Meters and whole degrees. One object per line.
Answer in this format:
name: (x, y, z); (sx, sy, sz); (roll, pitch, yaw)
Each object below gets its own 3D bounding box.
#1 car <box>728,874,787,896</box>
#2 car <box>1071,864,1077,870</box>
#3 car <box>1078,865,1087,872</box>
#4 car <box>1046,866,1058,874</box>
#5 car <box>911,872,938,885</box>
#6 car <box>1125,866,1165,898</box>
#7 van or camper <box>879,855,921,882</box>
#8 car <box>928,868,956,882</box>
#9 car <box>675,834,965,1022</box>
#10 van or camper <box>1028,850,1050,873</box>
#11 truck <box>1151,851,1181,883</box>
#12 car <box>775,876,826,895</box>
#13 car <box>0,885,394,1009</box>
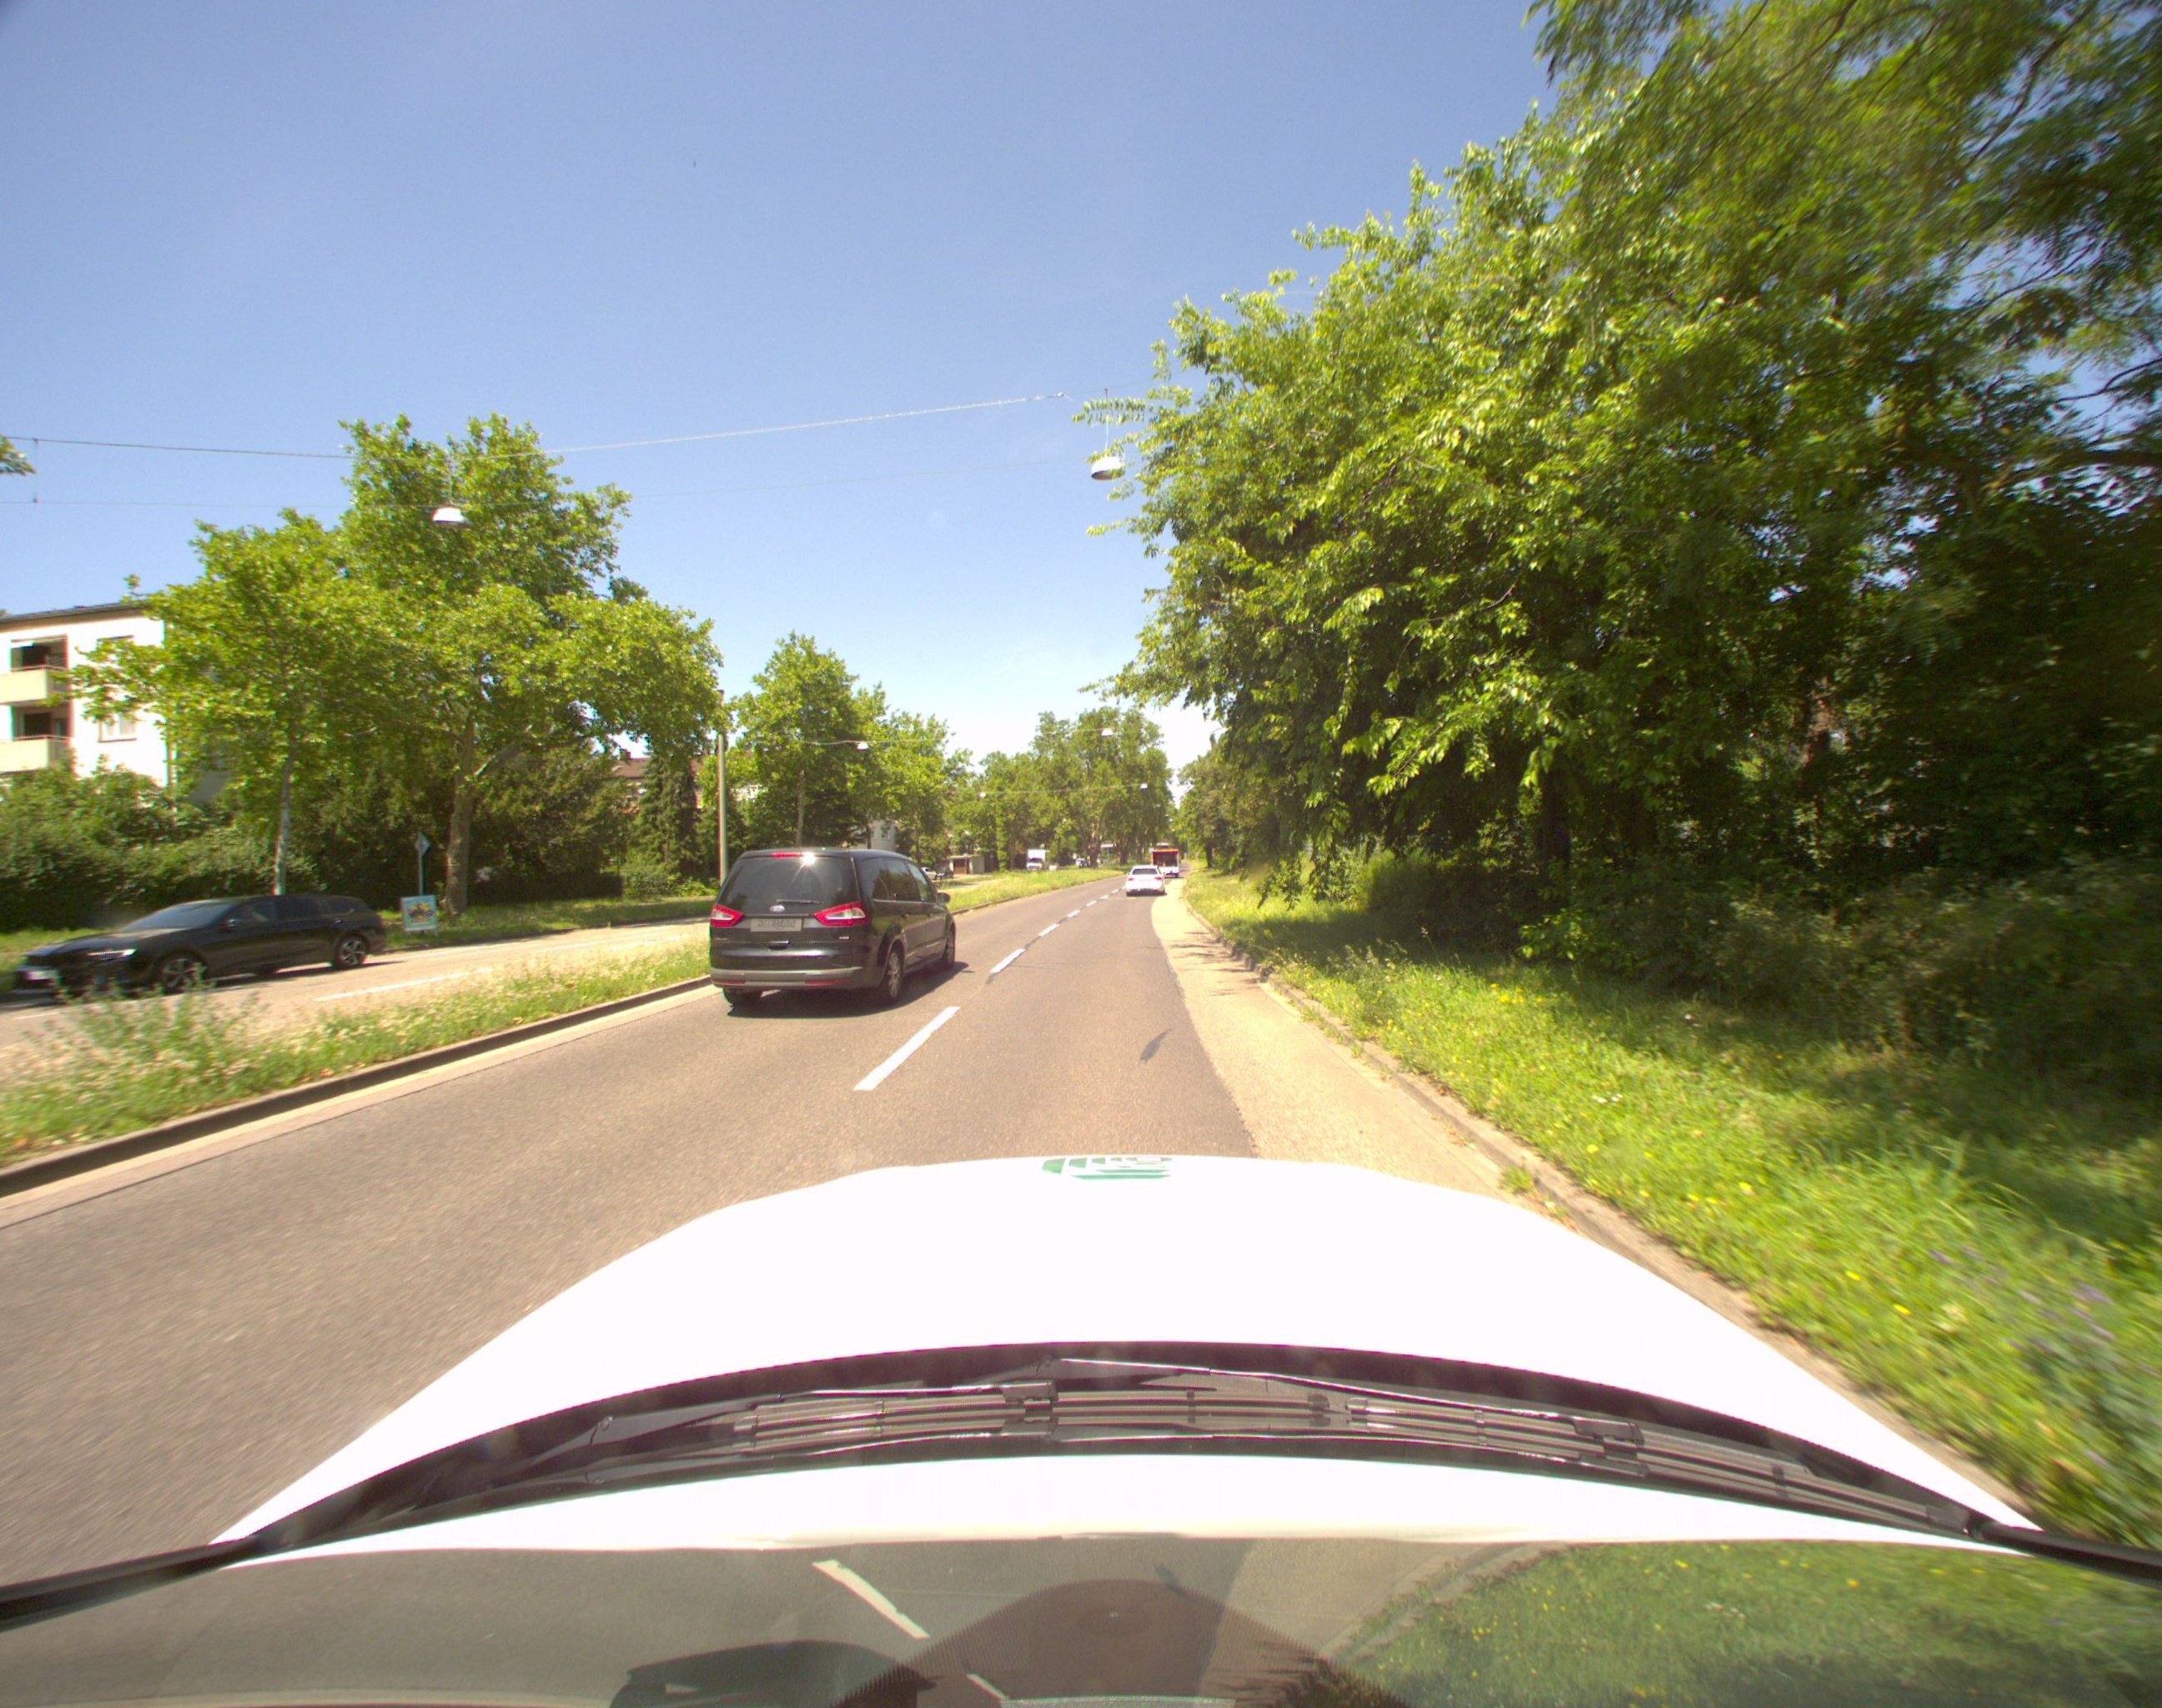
car: (-23.404, 2.251, 59.010); (1.867, 1.393, 4.017); (-2, -1, 16)
car: (-1.581, 2.961, 181.727); (1.455, 1.210, 3.425); (-2, -1, -1)
car: (0.278, 2.766, 158.583); (1.766, 1.332, 3.658); (-2, -1, -1)
car: (-4.923, 2.735, 139.007); (1.908, 1.210, 4.333); (-2, -1, -1)
car: (-17.306, 2.736, 90.127); (1.683, 1.284, 3.811); (-2, -1, 8)
car: (3.078, 1.292, 38.524); (1.753, 1.445, 3.622); (0, -1, 6)
van or camper: (-18.585, 1.470, 83.895); (2.169, 2.587, 5.323); (-2, 0, 10)
car: (-16.307, 2.446, 95.874); (1.816, 1.391, 3.961); (-2, 0, 12)
car: (-2.820, 0.726, 10.072); (1.846, 1.756, 4.652); (-1, -1, 3)
van or camper: (-6.374, 1.120, 124.022); (2.649, 3.331, 5.505); (-2, -1, 4)
truck: (7.394, 1.055, 70.899); (2.498, 2.559, 7.616); (0, 0, 6)
car: (-22.211, 2.474, 64.639); (1.868, 1.376, 4.014); (-2, -1, 13)
car: (-14.410, 1.390, 13.605); (1.805, 1.507, 4.596); (-3, 0, 2)
